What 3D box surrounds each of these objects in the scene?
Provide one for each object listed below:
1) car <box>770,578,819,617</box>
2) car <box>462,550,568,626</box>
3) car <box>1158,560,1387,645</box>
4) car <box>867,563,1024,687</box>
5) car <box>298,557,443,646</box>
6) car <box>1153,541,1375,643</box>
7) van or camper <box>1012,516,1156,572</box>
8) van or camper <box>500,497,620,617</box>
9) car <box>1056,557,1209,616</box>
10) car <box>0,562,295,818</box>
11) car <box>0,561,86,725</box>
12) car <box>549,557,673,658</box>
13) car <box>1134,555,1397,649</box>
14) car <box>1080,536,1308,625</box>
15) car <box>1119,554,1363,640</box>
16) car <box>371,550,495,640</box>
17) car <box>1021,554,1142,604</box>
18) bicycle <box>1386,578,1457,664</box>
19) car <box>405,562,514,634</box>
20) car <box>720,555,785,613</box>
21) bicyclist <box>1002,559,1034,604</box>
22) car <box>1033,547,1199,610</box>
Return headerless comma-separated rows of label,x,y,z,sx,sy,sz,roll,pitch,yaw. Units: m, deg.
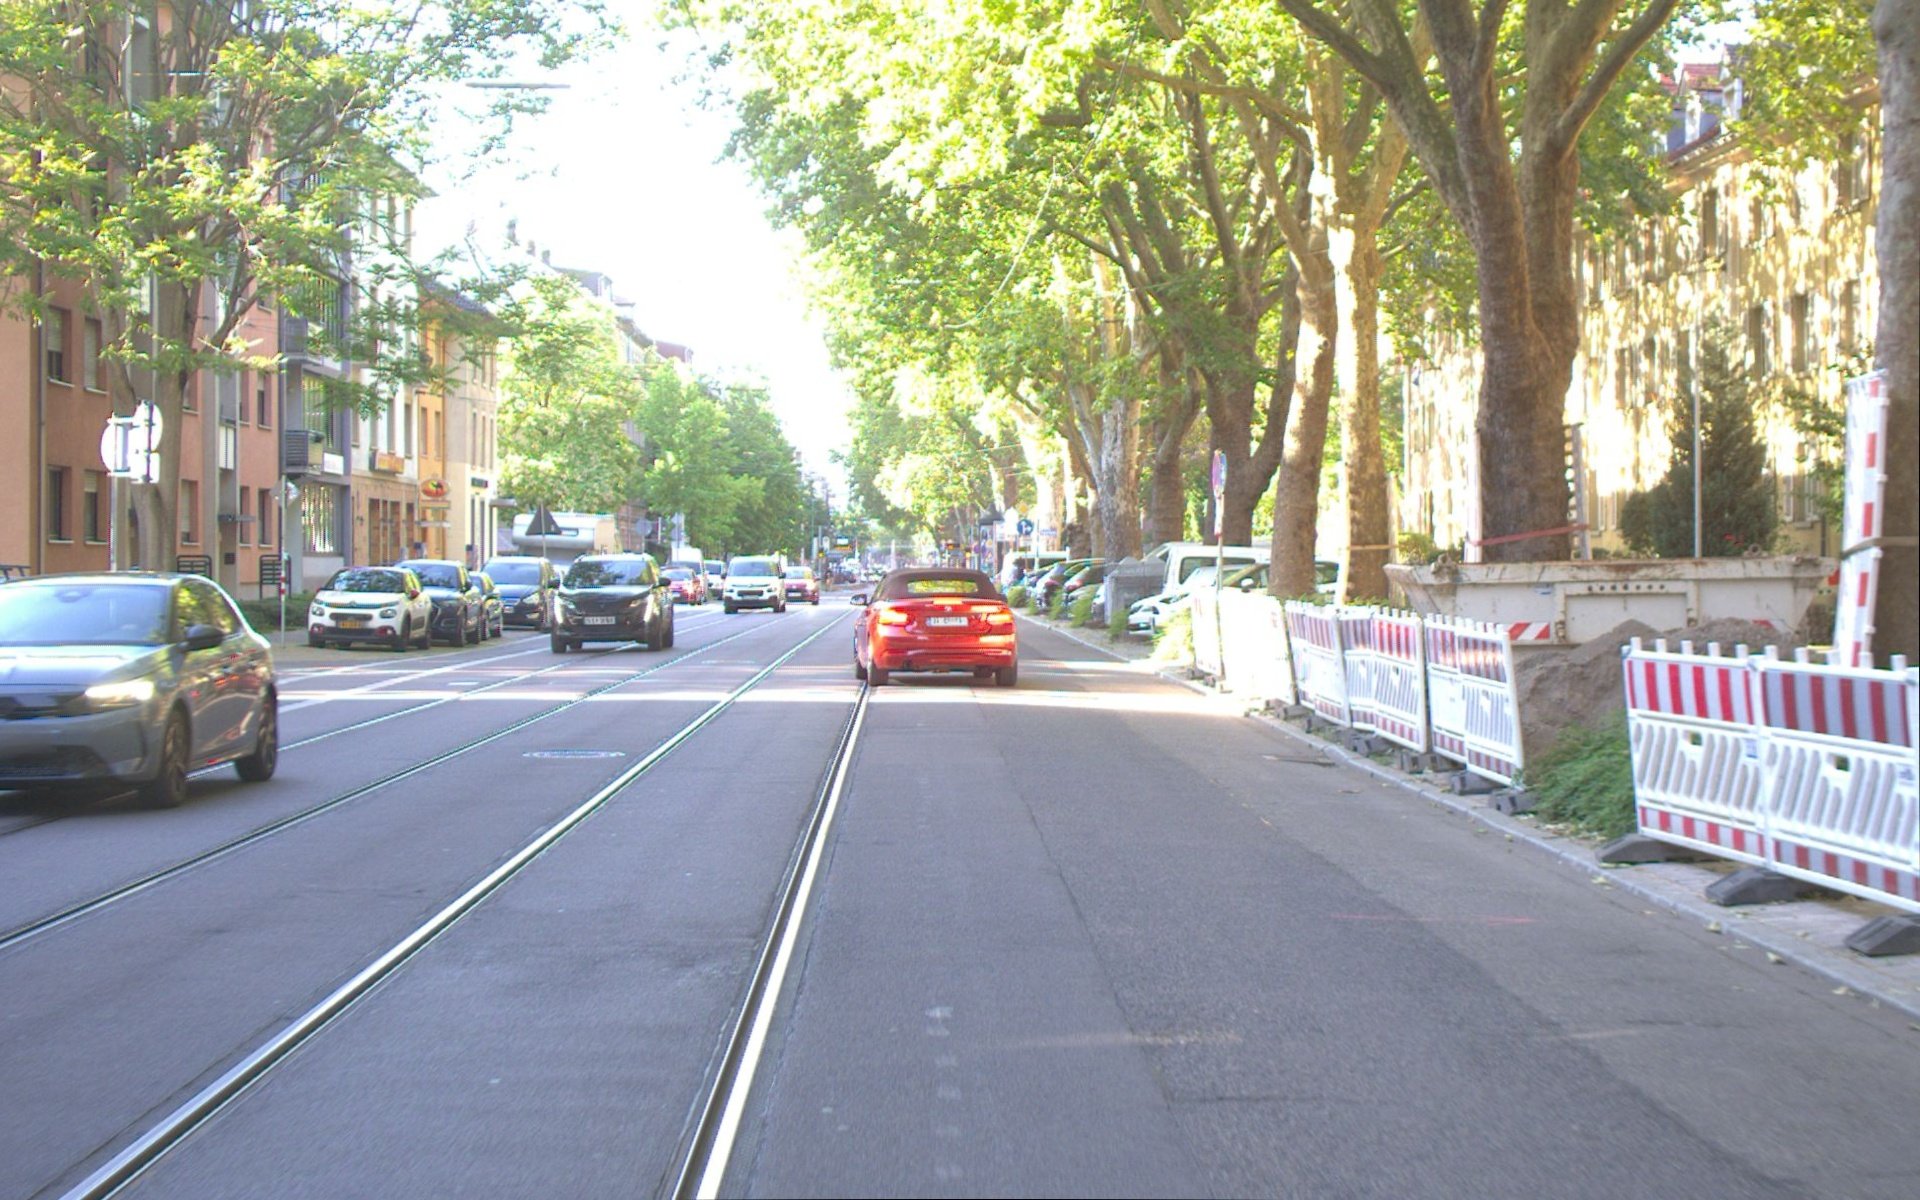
car,-6.525,-0.107,135.729,1.775,1.453,4.203,-1,1,-1
car,-10.526,-0.320,81.669,1.952,1.680,5.071,2,1,-2
car,5.308,0.024,58.774,3.844,1.428,1.851,0,1,3
car,-0.172,0.270,41.928,1.792,1.384,4.236,1,1,0
car,-10.471,0.012,61.304,1.806,1.473,4.090,2,0,0
car,5.342,-0.154,60.734,3.844,1.766,1.916,0,1,3
van or camper,5.008,-2.269,139.673,5.554,2.006,2.245,-2,3,-5
van or camper,-10.873,-1.164,93.917,2.337,3.030,6.397,3,1,0
car,4.449,-0.353,89.035,3.838,1.504,1.711,0,1,-1
car,-5.515,0.506,21.840,1.795,1.441,4.053,-1,1,0
car,-9.778,0.367,33.219,1.725,1.478,3.930,2,1,-2
car,-5.889,0.103,58.425,1.853,1.595,4.464,1,1,-3
car,4.982,0.040,56.452,4.087,1.516,1.917,0,0,-2
car,5.148,-0.433,76.227,4.835,1.956,2.065,0,0,-3
car,5.107,-0.067,62.760,4.371,1.537,1.801,0,1,3
car,-10.213,-0.120,66.903,1.781,1.605,4.588,3,1,-2
car,4.059,-0.721,115.628,3.923,1.664,1.961,0,1,-2
bicycle,6.367,0.277,47.529,0.690,1.150,1.949,0,1,-1
car,-10.455,-0.065,72.053,1.738,1.396,4.383,2,1,-2
car,-6.640,-0.524,110.431,1.891,1.826,4.896,0,1,-1
bicyclist,2.236,-0.713,132.186,1.045,1.700,1.058,0,1,-10
car,4.345,-0.591,95.491,4.497,1.596,2.027,-2,0,3
